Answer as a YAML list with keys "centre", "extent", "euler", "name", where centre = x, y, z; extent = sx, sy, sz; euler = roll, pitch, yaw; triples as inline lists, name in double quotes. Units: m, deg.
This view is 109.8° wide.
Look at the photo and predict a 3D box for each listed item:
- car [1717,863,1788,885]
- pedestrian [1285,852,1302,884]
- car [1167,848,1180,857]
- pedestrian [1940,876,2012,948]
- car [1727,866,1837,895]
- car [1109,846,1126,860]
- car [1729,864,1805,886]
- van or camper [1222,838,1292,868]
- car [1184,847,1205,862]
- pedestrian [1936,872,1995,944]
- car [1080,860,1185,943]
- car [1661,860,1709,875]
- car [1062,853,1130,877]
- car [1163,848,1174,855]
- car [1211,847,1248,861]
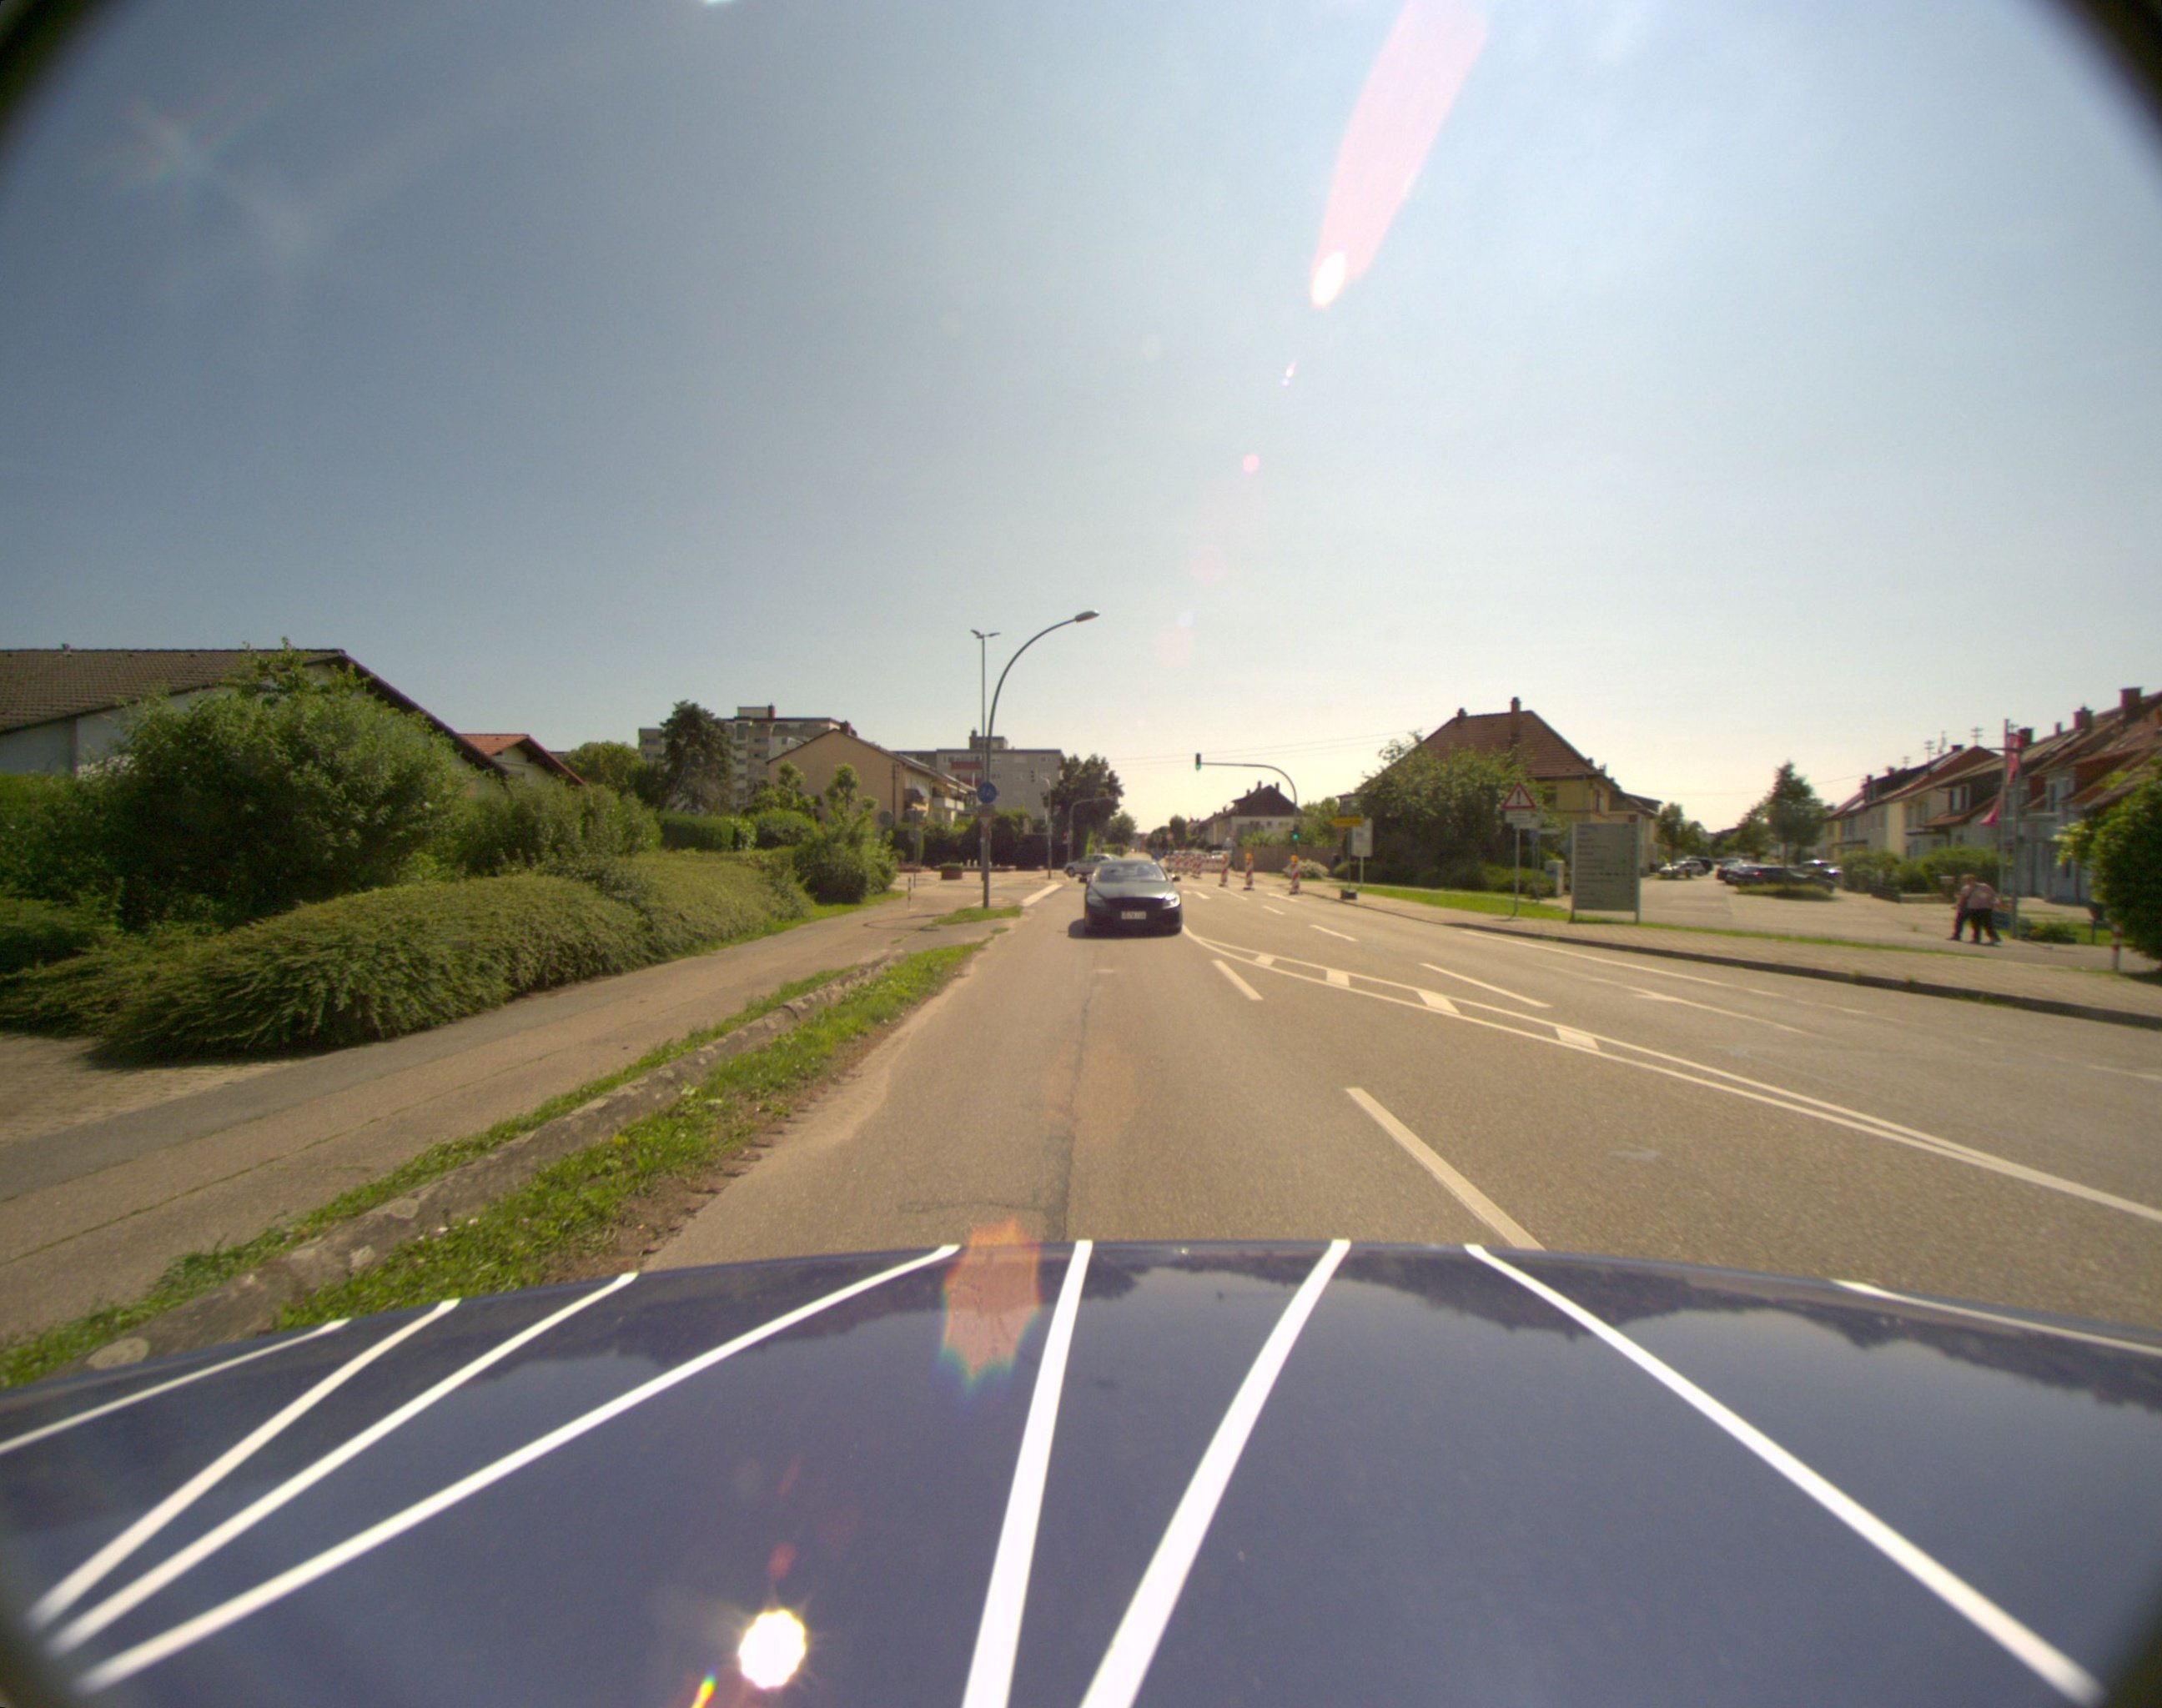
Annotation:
- centre: [44.765, 1.344, 50.717]
  extent: [3.329, 1.324, 1.424]
  euler: [1, 1, 33]
  name: "car"
- centre: [10.959, 0.703, 39.186]
  extent: [0.615, 1.598, 0.688]
  euler: [-3, 1, 4]
  name: "pedestrian"
- centre: [15.601, -0.315, 127.844]
  extent: [1.739, 1.504, 3.916]
  euler: [0, 1, 1]
  name: "car"
- centre: [22.737, 1.448, 19.334]
  extent: [0.957, 1.730, 0.817]
  euler: [1, 1, 33]
  name: "pedestrian"
- centre: [37.222, 1.423, 40.428]
  extent: [3.994, 1.452, 1.804]
  euler: [-1, 1, 7]
  name: "car"
- centre: [4.276, -0.123, 90.548]
  extent: [1.872, 1.586, 4.616]
  euler: [1, 1, 1]
  name: "car"
- centre: [43.632, 1.305, 48.387]
  extent: [3.329, 1.264, 1.424]
  euler: [1, 1, 31]
  name: "car"
- centre: [17.238, -0.084, 74.551]
  extent: [6.261, 2.828, 2.289]
  euler: [1, 1, -6]
  name: "van or camper"
- centre: [12.814, 0.073, 86.041]
  extent: [1.862, 1.581, 4.228]
  euler: [2, 1, 1]
  name: "car"
- centre: [23.134, 1.395, 19.894]
  extent: [0.802, 1.811, 0.711]
  euler: [1, 1, 34]
  name: "pedestrian"
- centre: [1.037, 0.888, 16.263]
  extent: [1.889, 1.429, 4.839]
  euler: [-1, 1, 2]
  name: "car"
- centre: [58.703, 1.288, 73.917]
  extent: [3.564, 1.405, 1.381]
  euler: [1, 1, -1]
  name: "car"
- centre: [0.934, 0.631, 47.492]
  extent: [3.968, 1.395, 1.708]
  euler: [1, 1, 34]
  name: "car"
- centre: [16.960, -0.491, 147.462]
  extent: [1.739, 1.409, 3.916]
  euler: [0, 1, 1]
  name: "car"
- centre: [17.362, 0.038, 88.836]
  extent: [3.998, 1.607, 1.768]
  euler: [0, 1, -3]
  name: "car"
